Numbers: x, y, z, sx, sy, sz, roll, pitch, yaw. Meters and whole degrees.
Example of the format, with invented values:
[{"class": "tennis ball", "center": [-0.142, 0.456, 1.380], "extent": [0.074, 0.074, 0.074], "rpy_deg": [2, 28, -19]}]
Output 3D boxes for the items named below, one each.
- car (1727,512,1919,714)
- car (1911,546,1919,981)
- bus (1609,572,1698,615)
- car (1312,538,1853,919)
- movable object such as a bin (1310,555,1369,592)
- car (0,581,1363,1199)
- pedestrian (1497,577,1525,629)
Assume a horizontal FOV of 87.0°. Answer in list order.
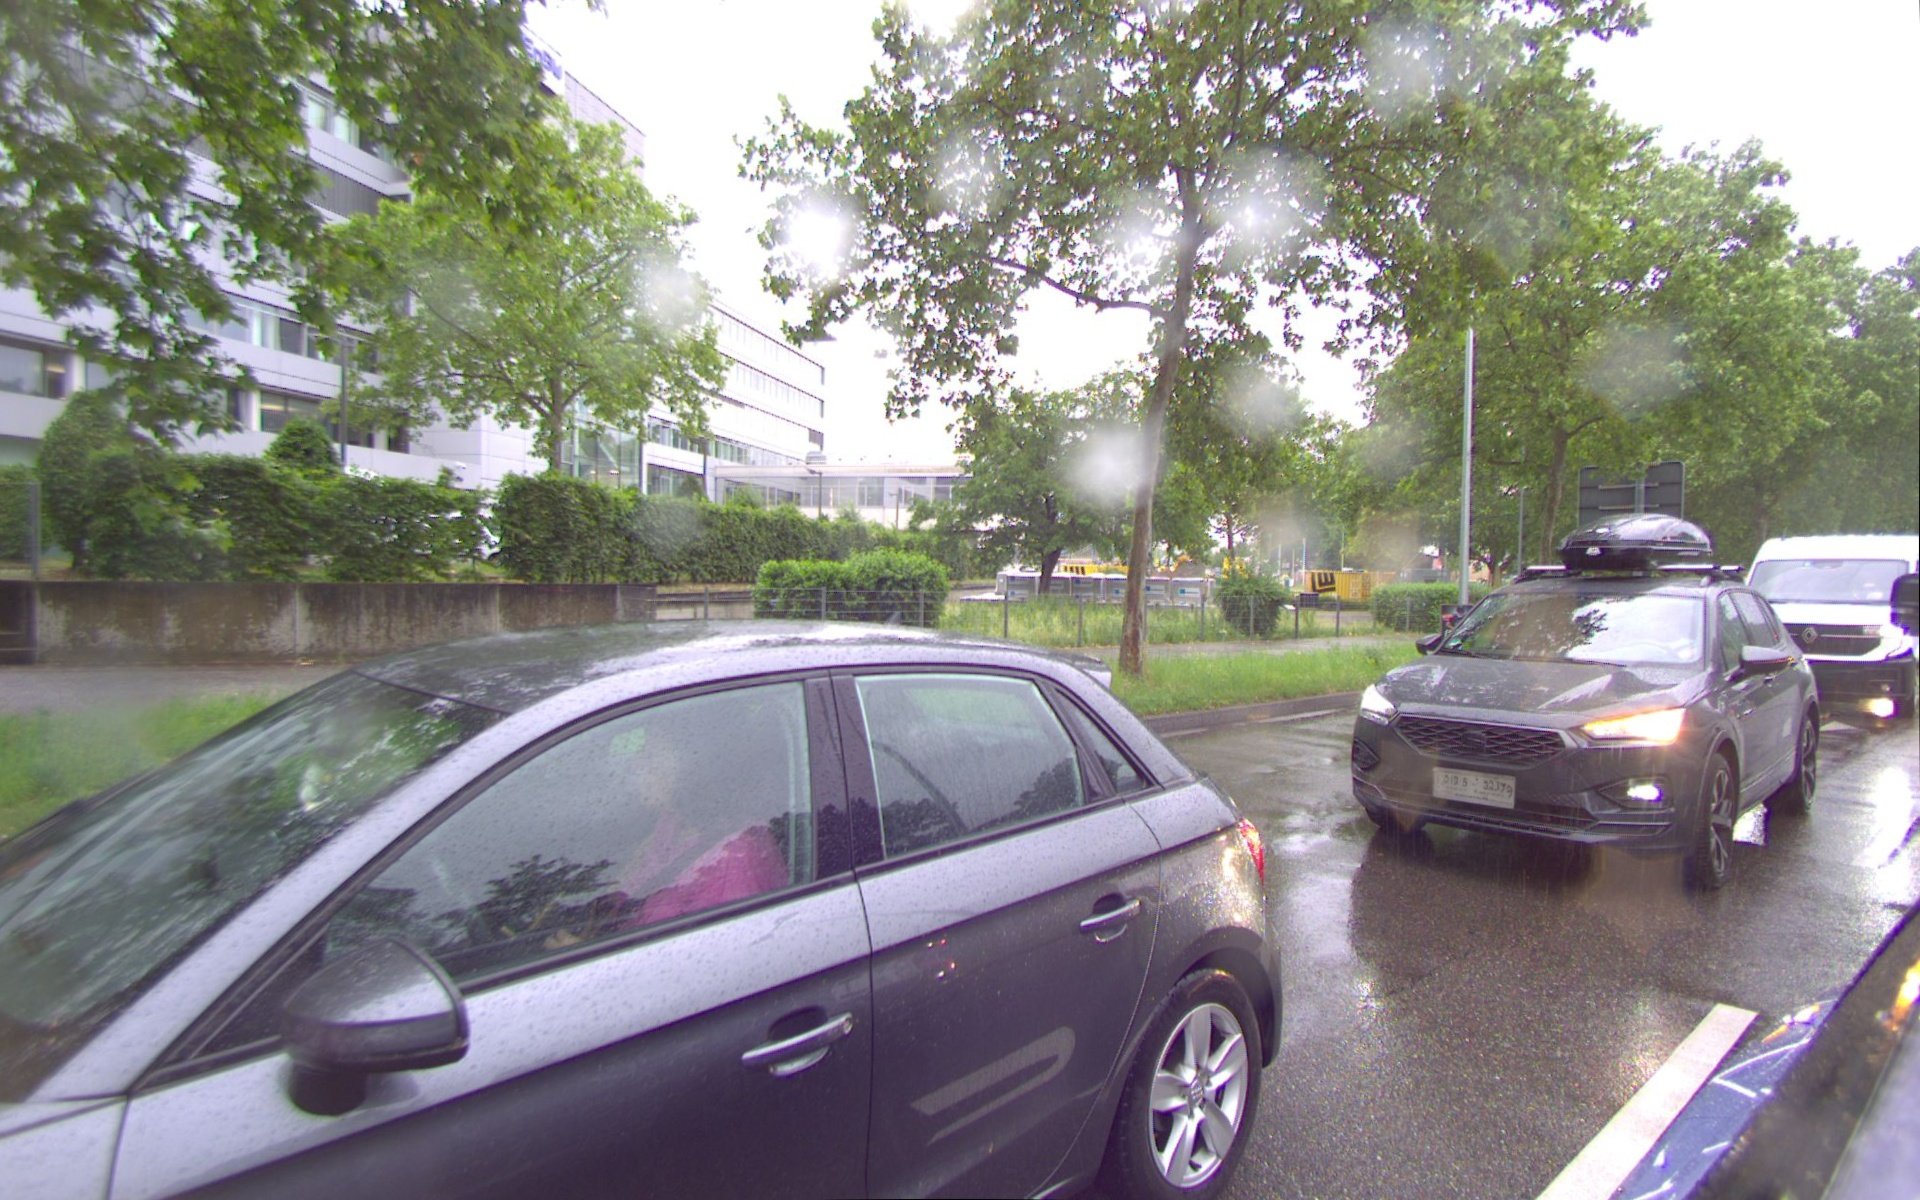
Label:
[{"class": "car", "center": [13.056, 0.133, 14.898], "extent": [5.227, 2.476, 1.892], "rpy_deg": [0, 1, -43]}, {"class": "car", "center": [6.324, 0.177, 4.954], "extent": [5.599, 2.544, 2.024], "rpy_deg": [0, 1, -43]}, {"class": "bus", "center": [43.731, -0.415, 63.912], "extent": [1.681, 2.600, 4.366], "rpy_deg": [0, 0, -41]}, {"class": "car", "center": [4.335, 0.557, 6.729], "extent": [4.347, 1.719, 1.892], "rpy_deg": [0, 1, -42]}, {"class": "movable object such as a bin", "center": [35.927, -2.477, 95.959], "extent": [4.842, 3.478, 1.919], "rpy_deg": [0, 0, -2]}, {"class": "car", "center": [-0.854, 0.694, 2.160], "extent": [3.715, 1.446, 1.679], "rpy_deg": [0, 1, -41]}, {"class": "pedestrian", "center": [18.783, 0.097, 34.489], "extent": [0.645, 1.738, 0.645], "rpy_deg": [0, 0, -40]}]
